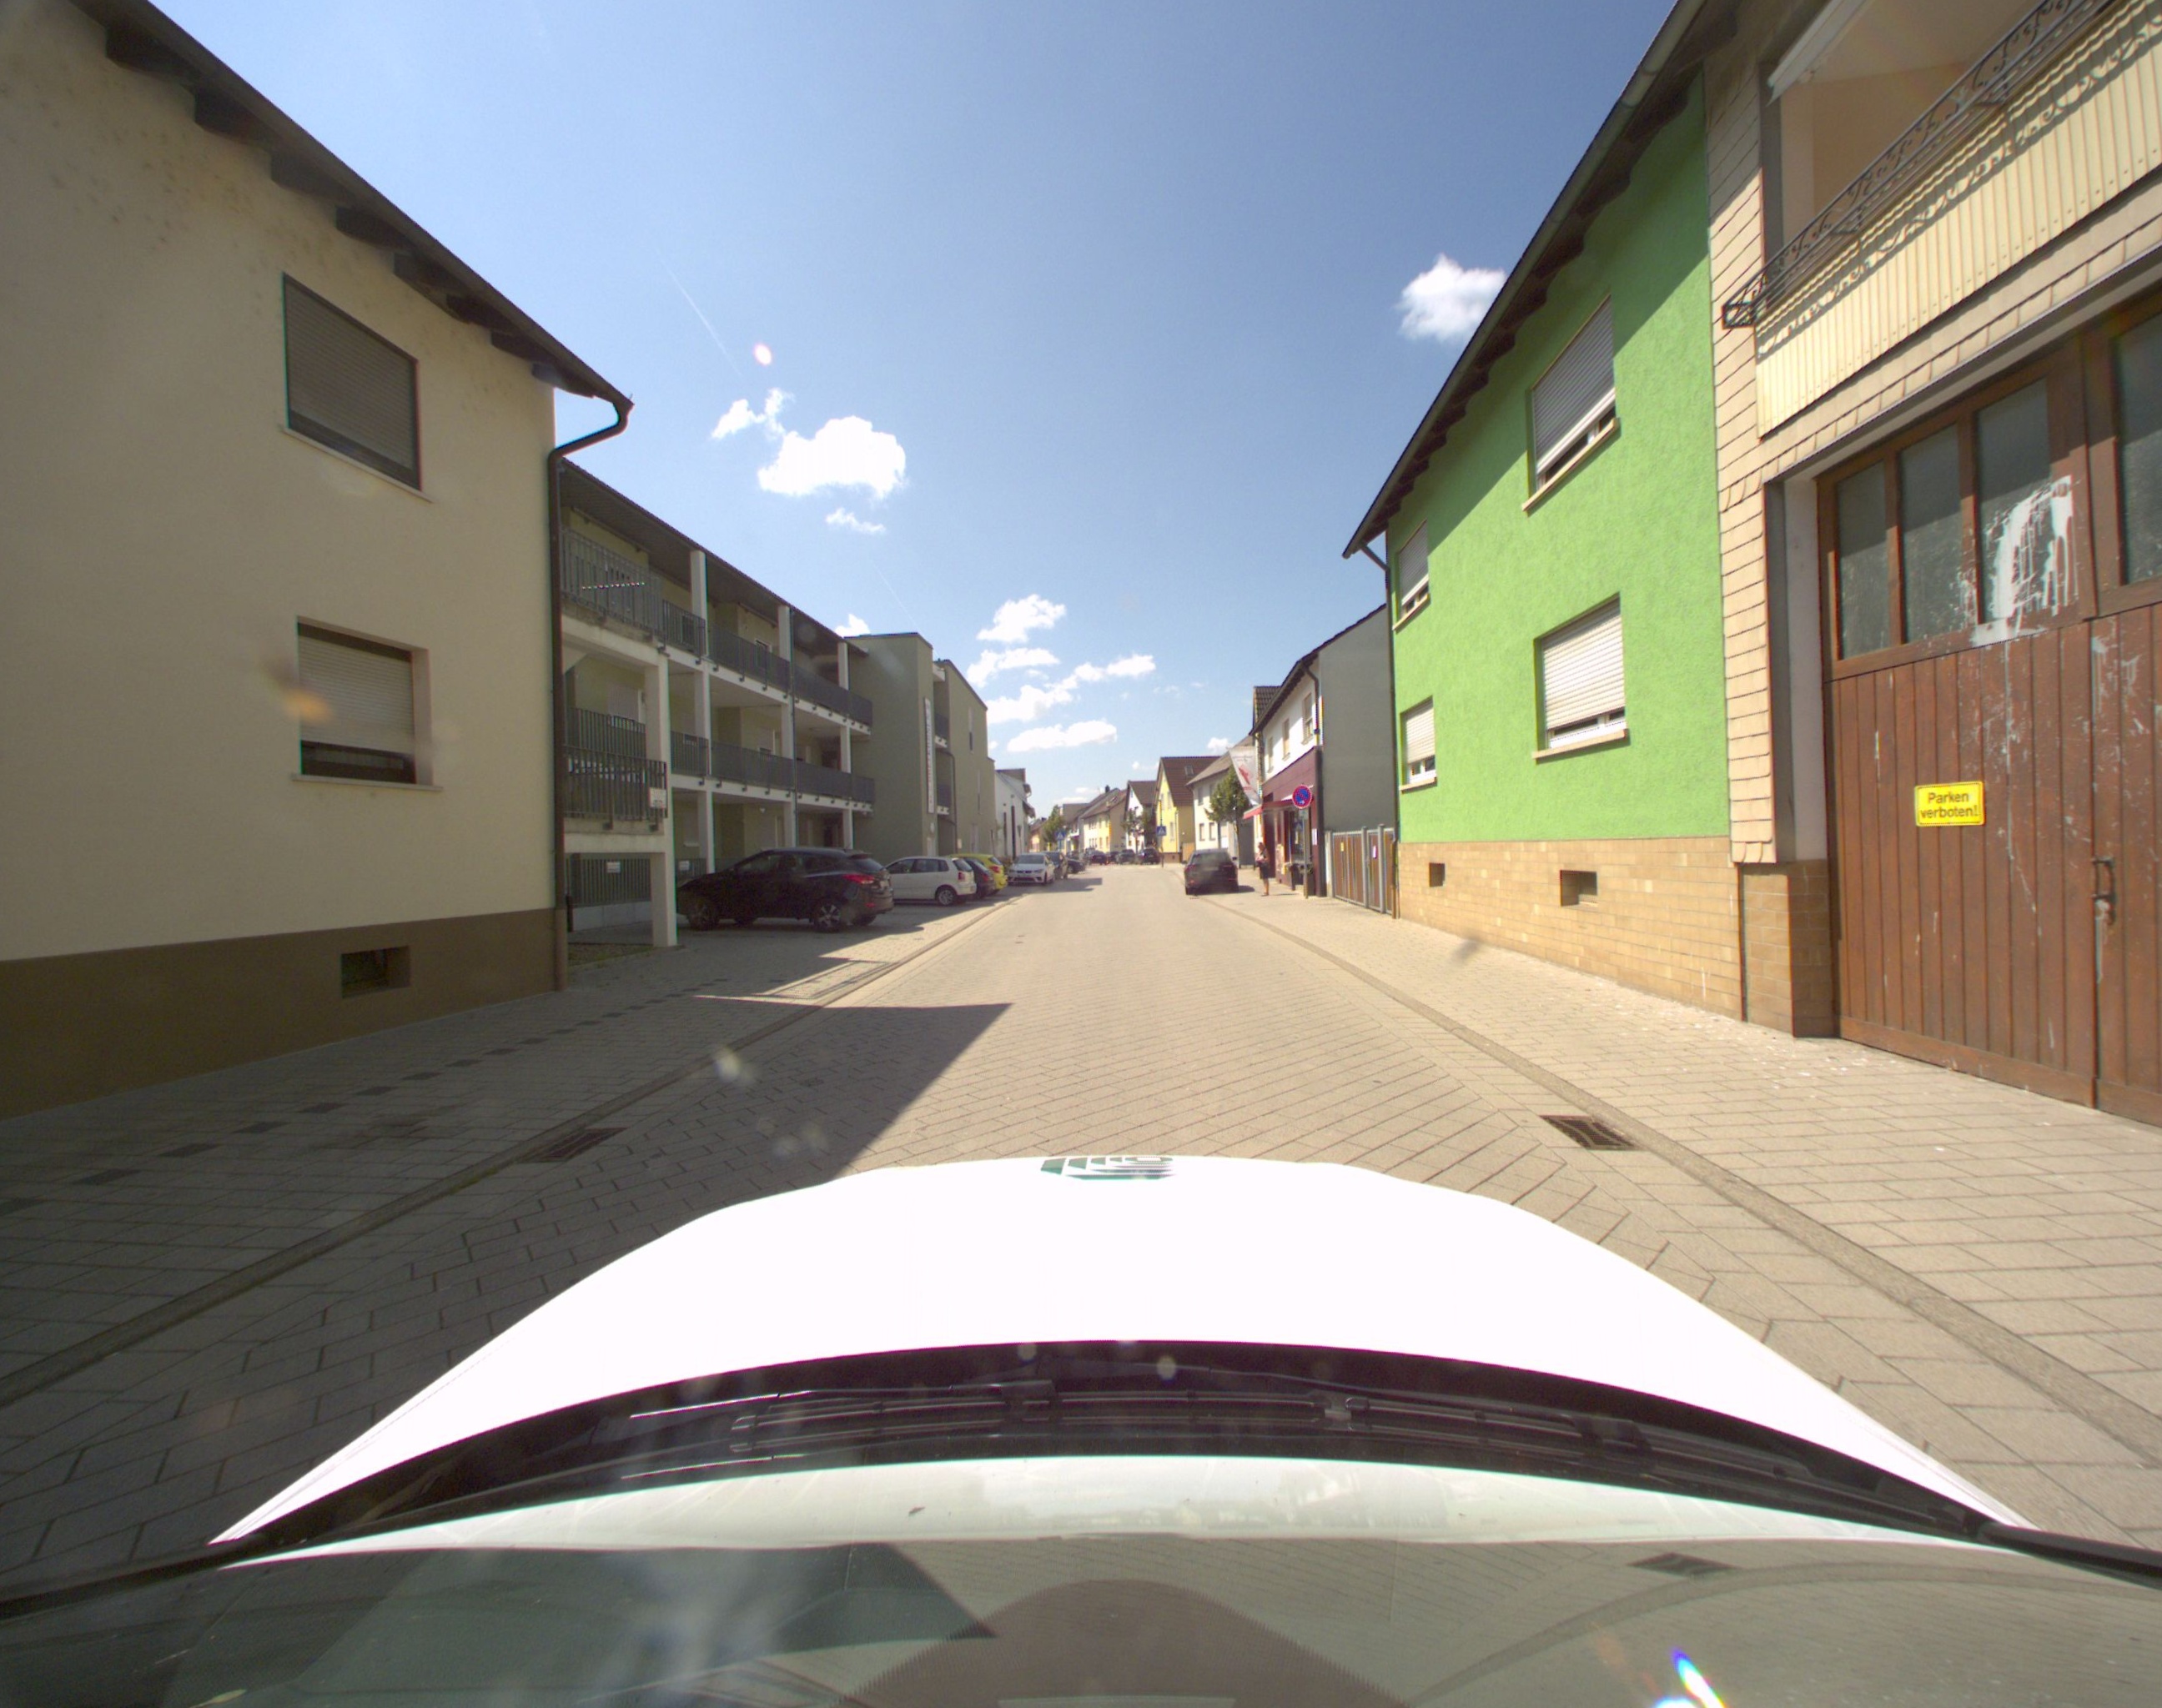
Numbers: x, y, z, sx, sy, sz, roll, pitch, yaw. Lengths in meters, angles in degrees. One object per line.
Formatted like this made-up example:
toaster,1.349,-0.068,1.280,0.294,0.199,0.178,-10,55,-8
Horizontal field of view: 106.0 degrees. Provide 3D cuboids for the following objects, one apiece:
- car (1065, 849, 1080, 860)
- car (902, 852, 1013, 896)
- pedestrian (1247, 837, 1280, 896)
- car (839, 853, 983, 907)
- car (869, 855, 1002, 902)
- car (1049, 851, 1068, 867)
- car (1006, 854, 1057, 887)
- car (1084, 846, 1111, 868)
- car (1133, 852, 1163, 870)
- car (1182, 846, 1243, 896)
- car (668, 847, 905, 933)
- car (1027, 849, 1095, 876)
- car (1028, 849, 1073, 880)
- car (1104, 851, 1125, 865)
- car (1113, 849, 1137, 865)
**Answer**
car,-1.329,0.114,120.731,1.752,1.492,3.991,-3,0,-6
car,-4.460,0.714,29.646,3.673,1.525,1.675,0,1,6
pedestrian,5.328,0.362,23.814,0.725,1.640,0.750,-5,-1,8
car,-5.080,0.752,24.586,3.880,1.502,1.754,0,1,7
car,-4.762,0.783,26.963,3.967,1.441,1.694,1,0,5
car,-2.203,0.482,80.466,1.743,1.530,3.995,-1,0,-3
car,-2.248,0.734,37.938,1.749,1.411,3.884,0,1,6
car,1.642,0.281,82.329,1.992,2.057,4.364,-3,0,-7
car,6.155,0.661,75.228,1.827,1.471,4.267,-4,0,-6
car,4.514,0.516,28.167,1.847,1.459,4.597,-4,0,8
car,-5.971,0.699,16.801,4.199,1.658,1.787,0,0,4
car,-1.273,0.543,52.795,4.086,1.438,1.768,-3,0,5
car,-1.587,0.524,43.499,1.804,1.490,4.284,-1,1,6
car,3.778,0.436,92.267,1.709,1.387,3.698,-3,0,-6
car,4.586,0.281,84.817,1.844,1.562,3.685,-3,0,-6
